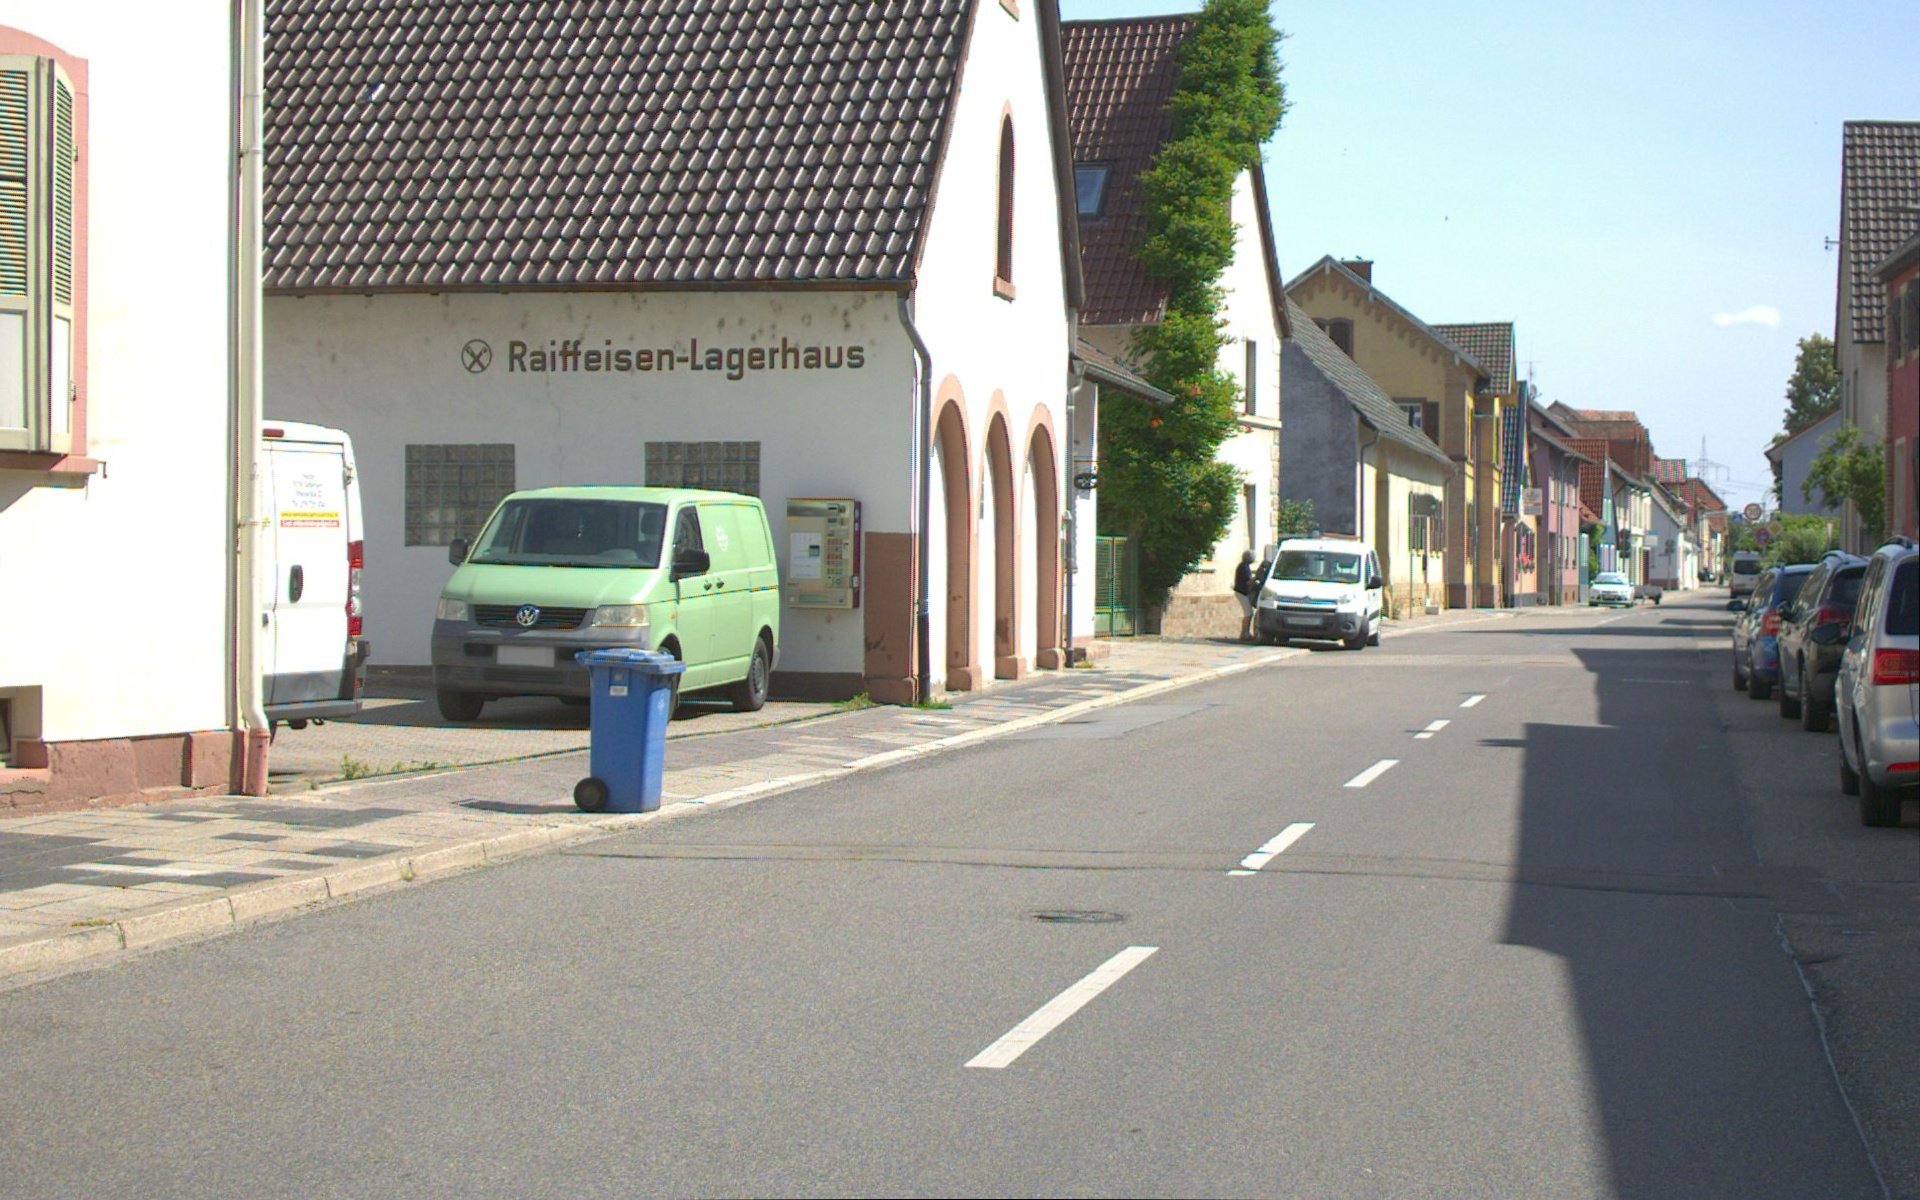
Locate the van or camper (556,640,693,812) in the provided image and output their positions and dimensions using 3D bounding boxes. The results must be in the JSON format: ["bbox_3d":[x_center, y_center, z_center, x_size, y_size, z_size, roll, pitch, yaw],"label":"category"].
[{"bbox_3d":[-1.937,0.721,19.881,0.590,0.948,0.599,1,1,17],"label":"van or camper"}]

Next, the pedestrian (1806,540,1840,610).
[{"bbox_3d":[20.763,-0.597,82.724,0.719,1.658,0.892,1,1,16],"label":"pedestrian"}]

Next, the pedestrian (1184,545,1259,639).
[{"bbox_3d":[4.413,-0.141,58.029,1.136,1.546,1.016,1,1,10],"label":"pedestrian"}]

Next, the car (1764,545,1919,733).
[{"bbox_3d":[8.246,0.311,30.996,1.699,1.578,4.026,0,0,10],"label":"car"}]

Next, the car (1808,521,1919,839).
[{"bbox_3d":[6.190,0.433,20.650,1.899,1.722,4.247,2,1,11],"label":"car"}]

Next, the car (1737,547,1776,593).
[{"bbox_3d":[44.445,-1.677,191.802,2.018,2.559,3.998,0,0,12],"label":"car"}]

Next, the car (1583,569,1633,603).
[{"bbox_3d":[28.117,-0.624,149.043,1.995,1.437,3.998,0,0,13],"label":"car"}]

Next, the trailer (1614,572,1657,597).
[{"bbox_3d":[32.511,-0.752,165.390,1.994,1.086,3.998,0,2,11],"label":"trailer"}]

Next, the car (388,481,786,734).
[{"bbox_3d":[-3.054,0.025,29.269,1.994,1.958,4.667,1,1,12],"label":"car"}]

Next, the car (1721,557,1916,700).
[{"bbox_3d":[9.339,0.278,37.664,1.699,1.464,4.408,0,0,9],"label":"car"}]

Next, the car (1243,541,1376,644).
[{"bbox_3d":[5.866,-0.153,57.361,1.856,1.641,4.428,1,1,10],"label":"car"}]

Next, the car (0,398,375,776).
[{"bbox_3d":[-6.561,-0.155,21.962,5.182,2.189,2.120,2,1,21],"label":"car"}]
